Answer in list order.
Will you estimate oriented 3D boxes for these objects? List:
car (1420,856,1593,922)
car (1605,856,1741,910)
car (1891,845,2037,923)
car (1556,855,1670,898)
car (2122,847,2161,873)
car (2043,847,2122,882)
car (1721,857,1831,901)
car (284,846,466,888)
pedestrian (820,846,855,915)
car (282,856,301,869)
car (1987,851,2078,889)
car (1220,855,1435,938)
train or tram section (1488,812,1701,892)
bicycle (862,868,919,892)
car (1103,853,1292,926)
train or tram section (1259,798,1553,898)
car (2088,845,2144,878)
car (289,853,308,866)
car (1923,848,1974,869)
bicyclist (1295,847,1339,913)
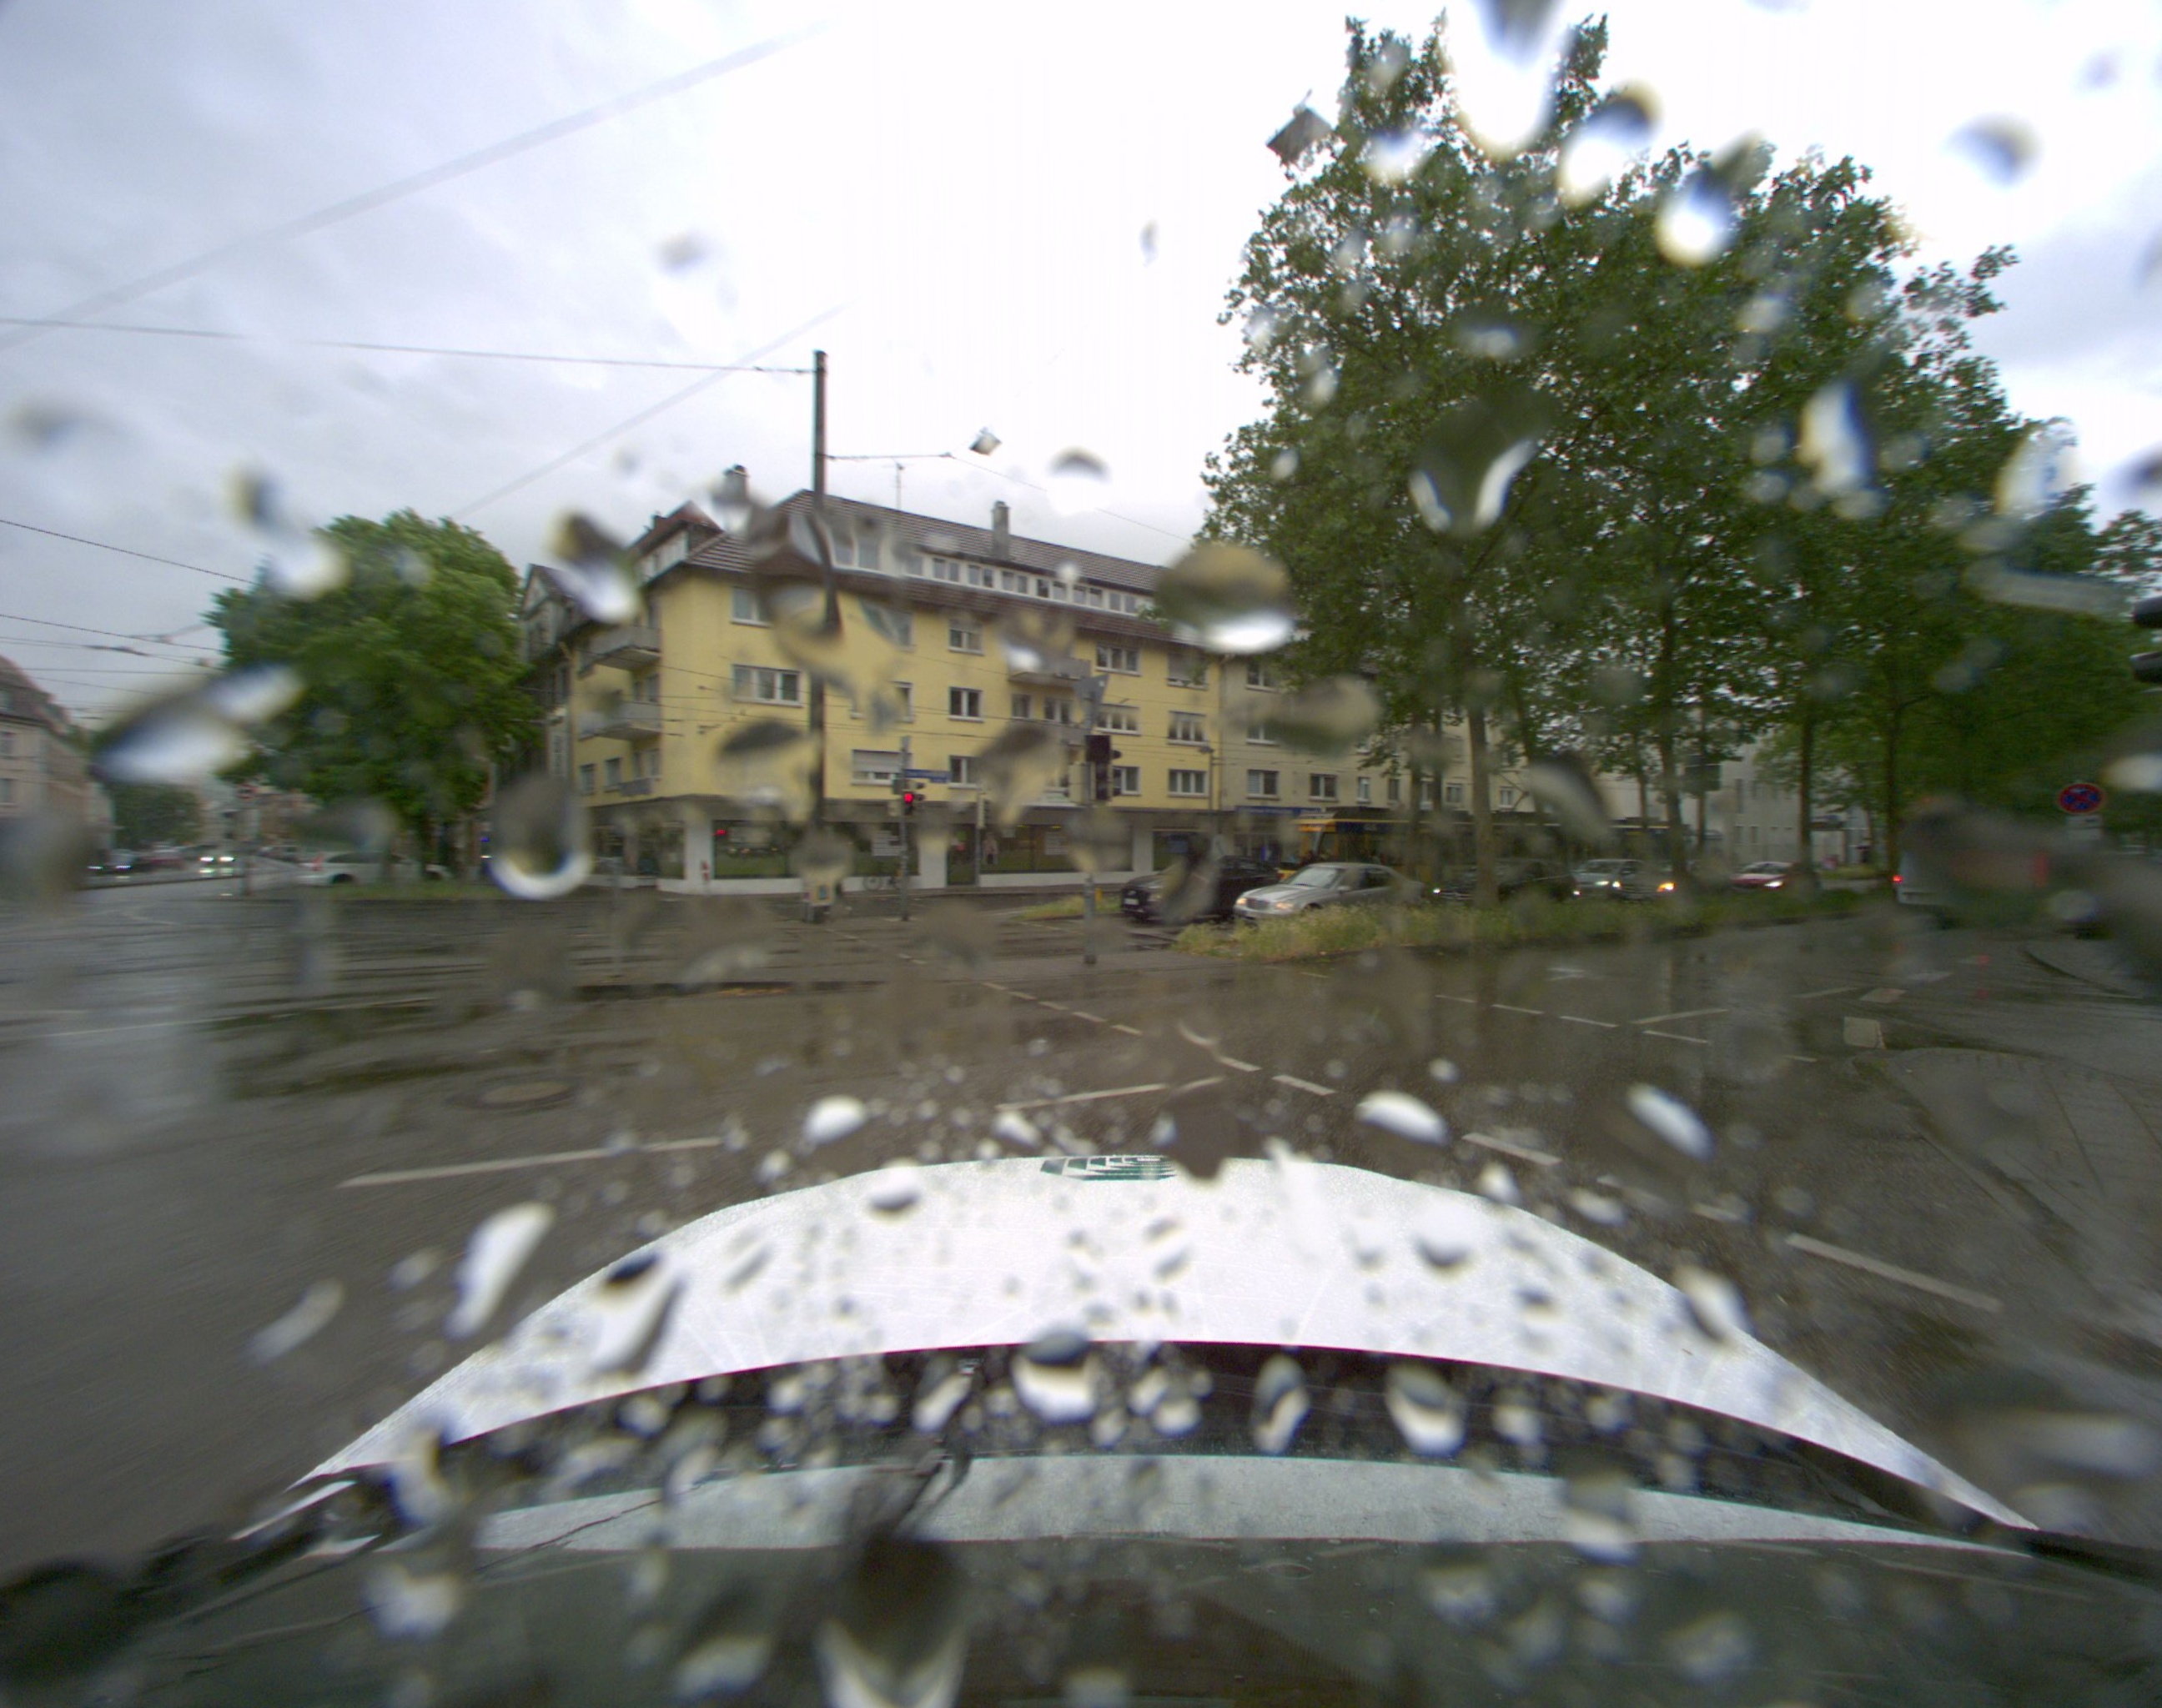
[{"bbox_3d":[11.109,0.826,21.167,4.654,1.485,1.845,0,1,-31],"label":"car"},{"bbox_3d":[18.038,0.815,24.760,4.445,1.480,1.730,0,1,-31],"label":"car"},{"bbox_3d":[22.471,0.709,20.700,4.129,1.797,1.890,1,0,-34],"label":"car"},{"bbox_3d":[18.838,0.744,28.787,4.143,1.397,1.730,0,1,-31],"label":"car"},{"bbox_3d":[65.160,0.338,49.612,4.132,1.500,1.638,0,2,-31],"label":"car"},{"bbox_3d":[48.697,0.496,39.586,4.366,1.635,1.688,0,0,-29],"label":"car"},{"bbox_3d":[24.830,0.845,29.081,4.246,1.397,1.730,0,1,-31],"label":"car"},{"bbox_3d":[-27.162,0.438,31.505,1.974,1.474,5.021,0,1,38],"label":"car"},{"bbox_3d":[-6.094,0.642,20.363,0.814,1.677,1.011,0,0,-18],"label":"pedestrian"},{"bbox_3d":[-92.899,1.013,95.806,1.488,1.363,3.419,2,-3,-43],"label":"car"},{"bbox_3d":[40.921,0.662,34.998,4.629,1.503,1.816,0,1,-32],"label":"car"},{"bbox_3d":[5.197,0.782,17.001,4.515,1.489,1.723,0,1,-31],"label":"car"},{"bbox_3d":[26.459,-0.003,41.444,14.724,3.558,3.085,1,0,-32],"label":"train or tram section"},{"bbox_3d":[-7.306,0.991,31.272,2.052,0.897,0.608,0,0,-30],"label":"bicycle"},{"bbox_3d":[2.788,0.741,19.129,4.302,1.501,1.859,0,0,-35],"label":"car"},{"bbox_3d":[13.956,-0.142,33.868,14.622,3.558,3.086,1,0,-31],"label":"train or tram section"},{"bbox_3d":[57.105,0.387,44.933,3.673,1.681,1.612,-1,2,-34],"label":"car"},{"bbox_3d":[-88.298,0.603,91.925,1.488,1.363,3.419,2,-3,-43],"label":"car"},{"bbox_3d":[61.325,0.262,57.560,3.768,1.342,1.727,-1,3,-32],"label":"car"},{"bbox_3d":[6.249,0.681,21.573,0.893,1.716,0.707,1,-1,-34],"label":"bicyclist"}]
